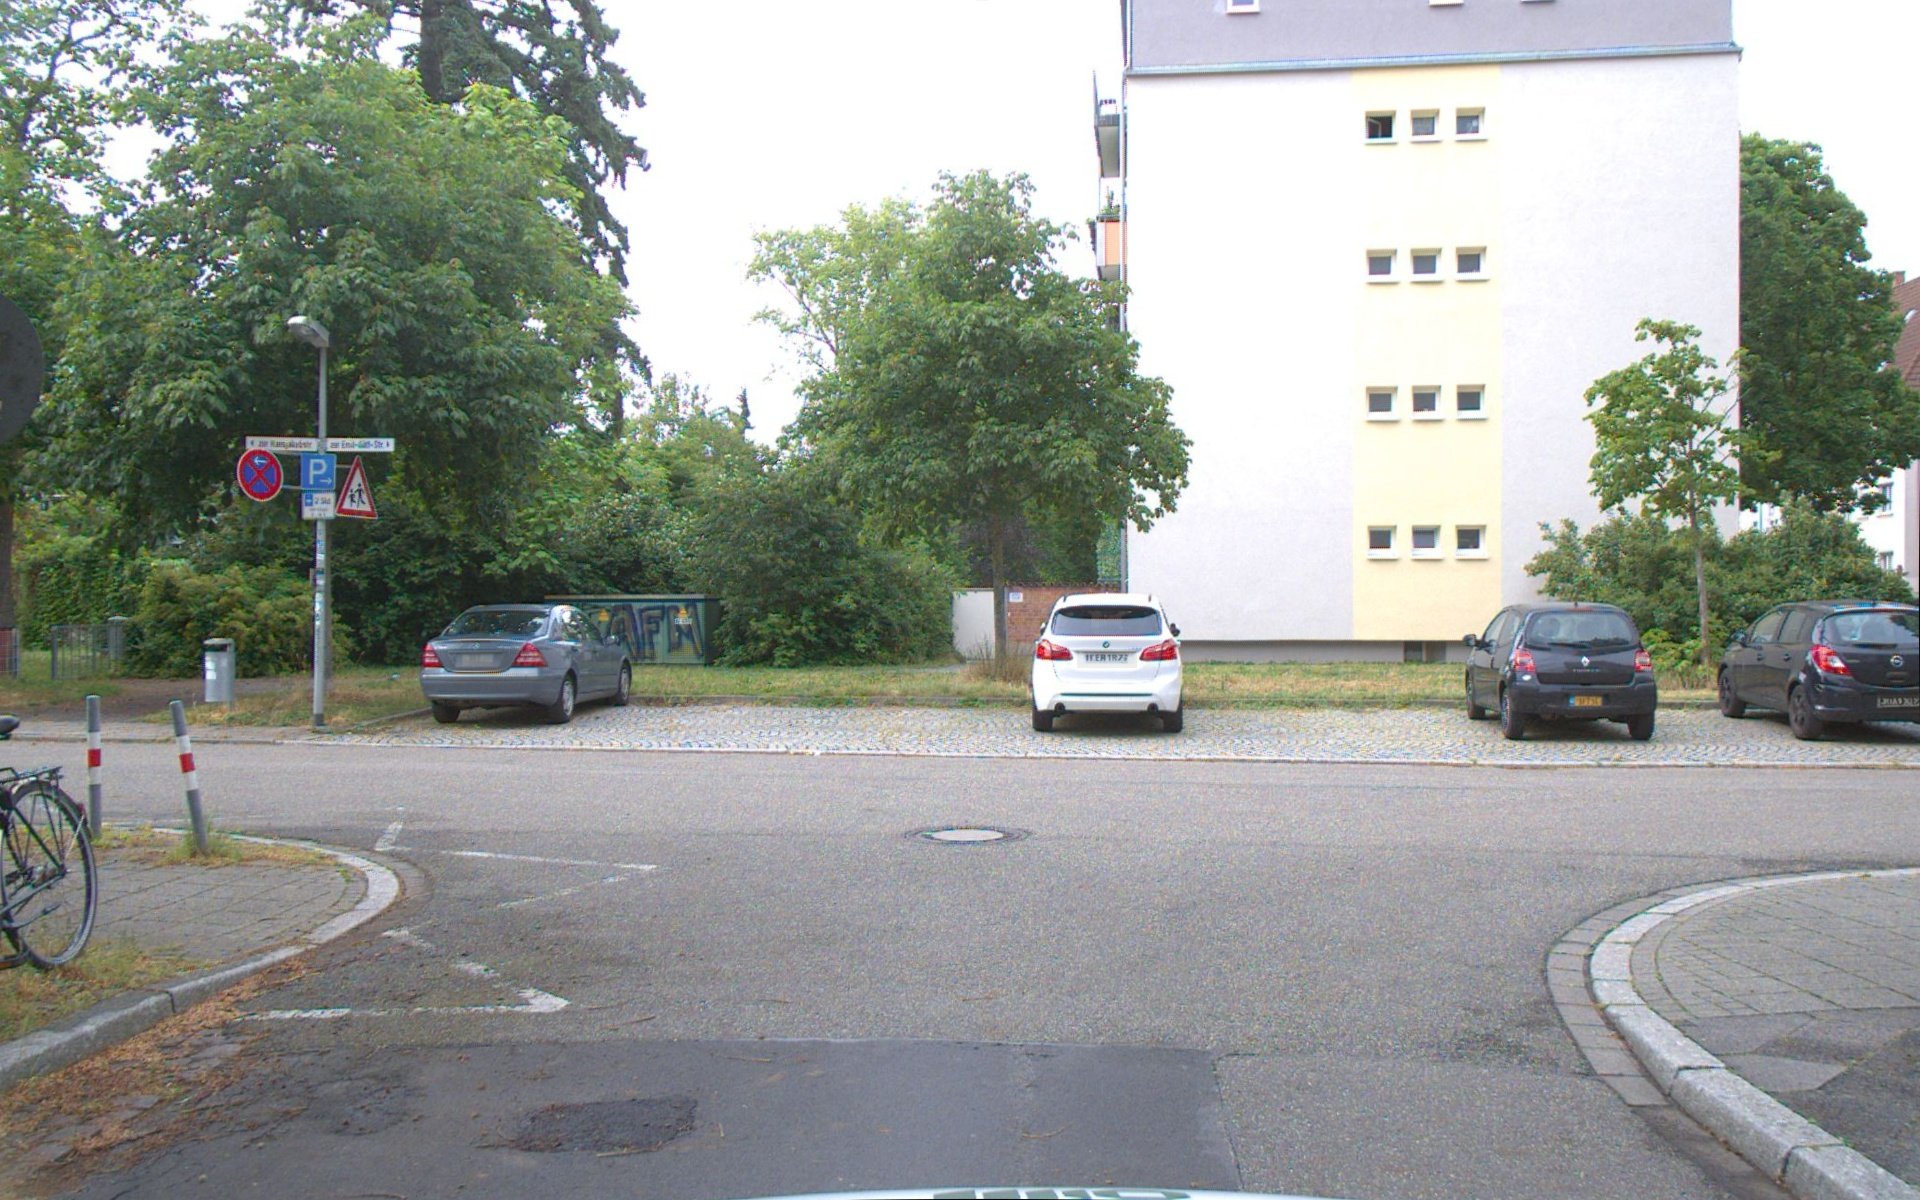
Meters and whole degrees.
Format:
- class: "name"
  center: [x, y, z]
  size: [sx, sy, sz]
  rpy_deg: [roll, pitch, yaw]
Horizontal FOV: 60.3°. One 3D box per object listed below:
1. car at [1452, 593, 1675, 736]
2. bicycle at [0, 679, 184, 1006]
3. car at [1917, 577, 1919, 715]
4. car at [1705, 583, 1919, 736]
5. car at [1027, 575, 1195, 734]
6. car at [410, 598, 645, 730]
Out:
- class: "car"
  center: [7.081, 0.668, 19.858]
  size: [1.796, 1.489, 4.564]
  rpy_deg: [0, 0, 11]
- class: "bicycle"
  center: [-3.390, 0.825, 5.570]
  size: [0.500, 1.003, 2.182]
  rpy_deg: [2, 0, 0]
- class: "car"
  center: [12.582, 0.589, 18.638]
  size: [1.869, 1.727, 4.072]
  rpy_deg: [0, 0, 11]
- class: "car"
  center: [10.241, 0.601, 19.367]
  size: [1.796, 1.593, 4.361]
  rpy_deg: [0, 0, 11]
- class: "car"
  center: [1.919, 0.566, 20.392]
  size: [1.838, 1.587, 4.153]
  rpy_deg: [1, 3, 7]
- class: "car"
  center: [-5.409, 0.735, 21.298]
  size: [1.639, 1.480, 4.562]
  rpy_deg: [0, 0, 3]
